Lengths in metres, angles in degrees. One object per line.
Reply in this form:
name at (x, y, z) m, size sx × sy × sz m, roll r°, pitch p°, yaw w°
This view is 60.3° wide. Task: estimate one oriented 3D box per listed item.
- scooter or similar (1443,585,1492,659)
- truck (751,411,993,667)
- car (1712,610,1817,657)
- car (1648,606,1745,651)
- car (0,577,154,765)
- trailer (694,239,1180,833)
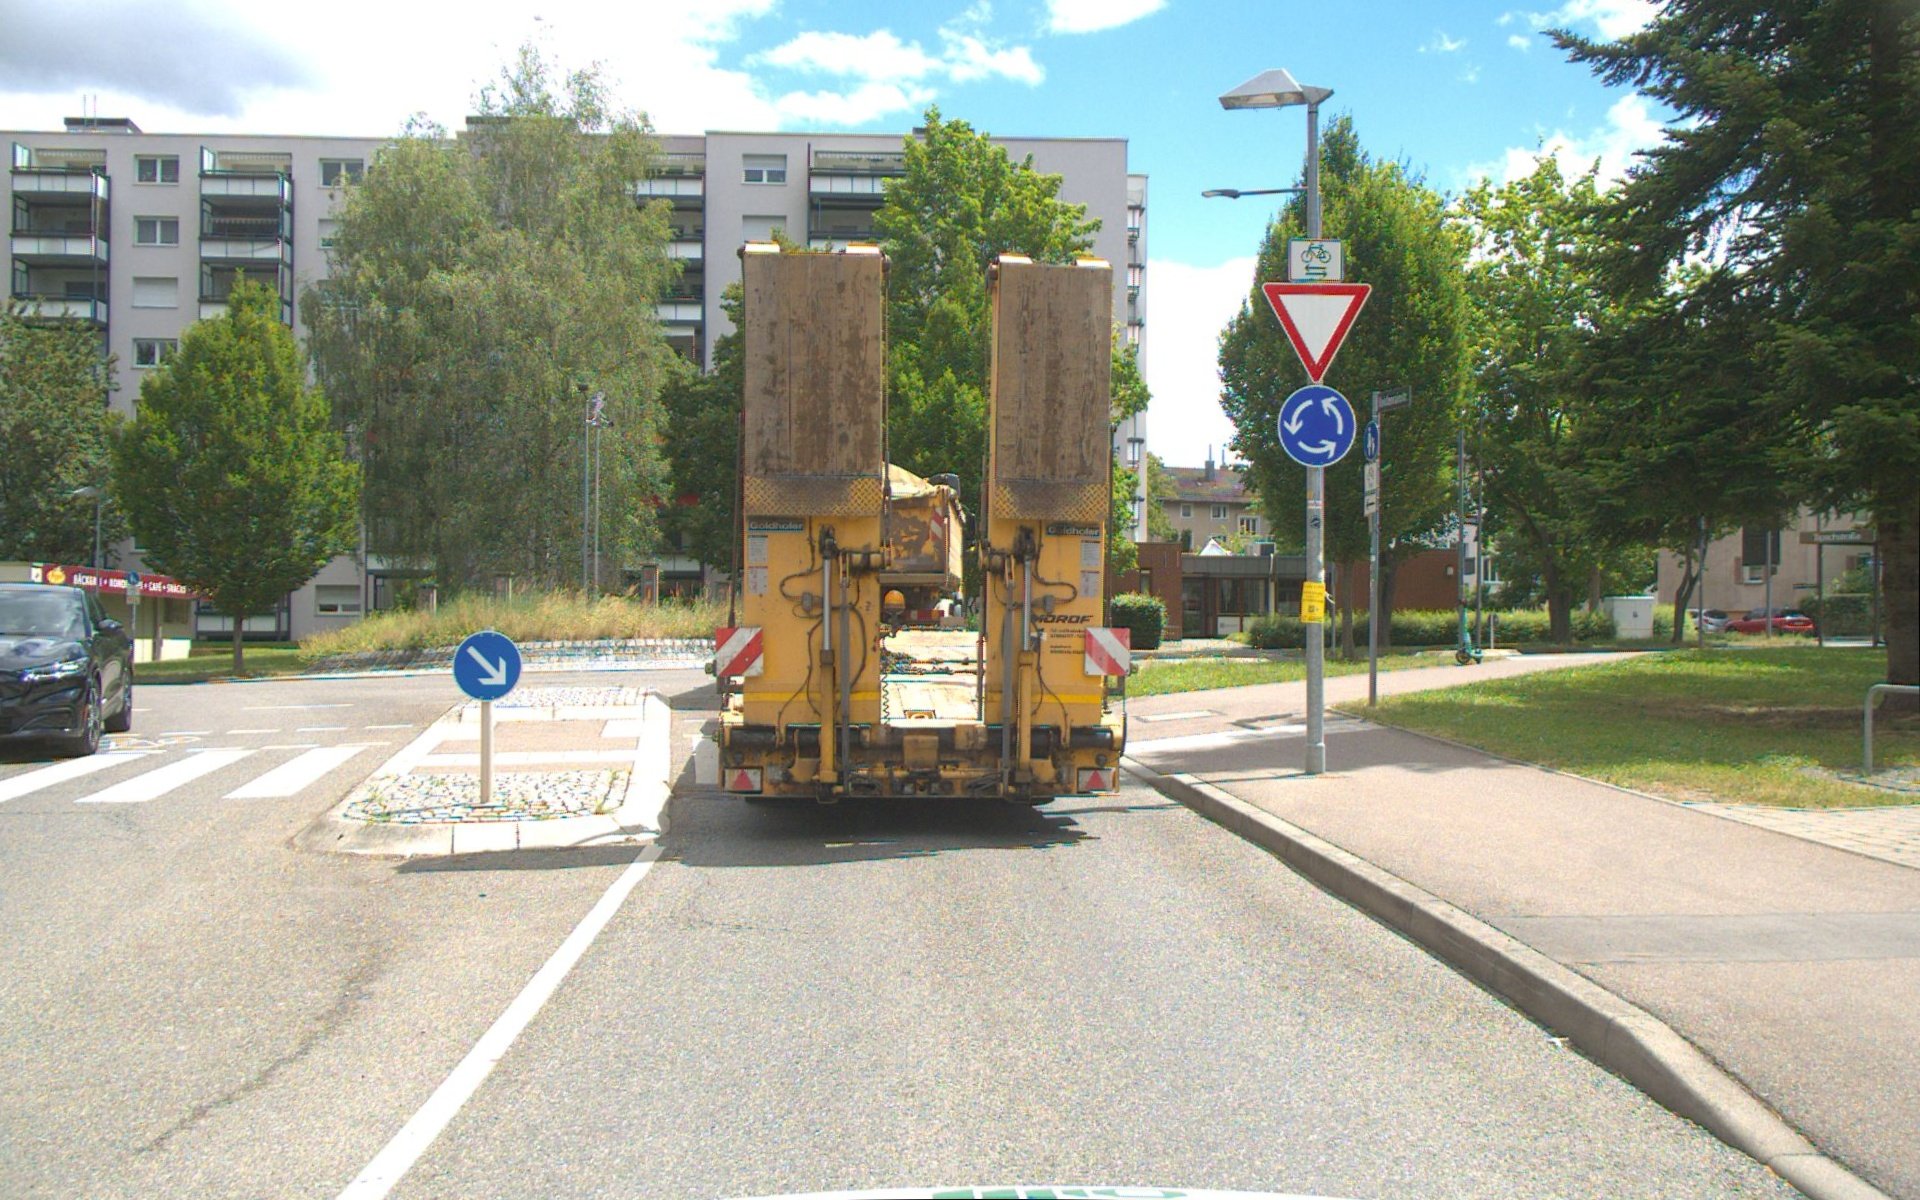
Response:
scooter or similar at (9.841, 0.416, 32.065) m, size 0.476 × 1.366 × 1.384 m, roll -2°, pitch 0°, yaw 35°
truck at (-1.204, -0.842, 24.655) m, size 2.927 × 3.087 × 8.484 m, roll 1°, pitch 1°, yaw -2°
car at (35.149, 1.440, 72.360) m, size 1.980 × 1.975 × 3.980 m, roll 1°, pitch -1°, yaw -18°
car at (34.007, 1.310, 76.504) m, size 1.962 × 1.975 × 3.980 m, roll 1°, pitch -1°, yaw -18°
car at (-9.275, 0.588, 16.318) m, size 1.965 × 1.552 × 4.497 m, roll 0°, pitch 2°, yaw -21°
trailer at (-0.645, -0.403, 15.146) m, size 2.808 × 3.431 × 10.828 m, roll 1°, pitch 0°, yaw -6°
